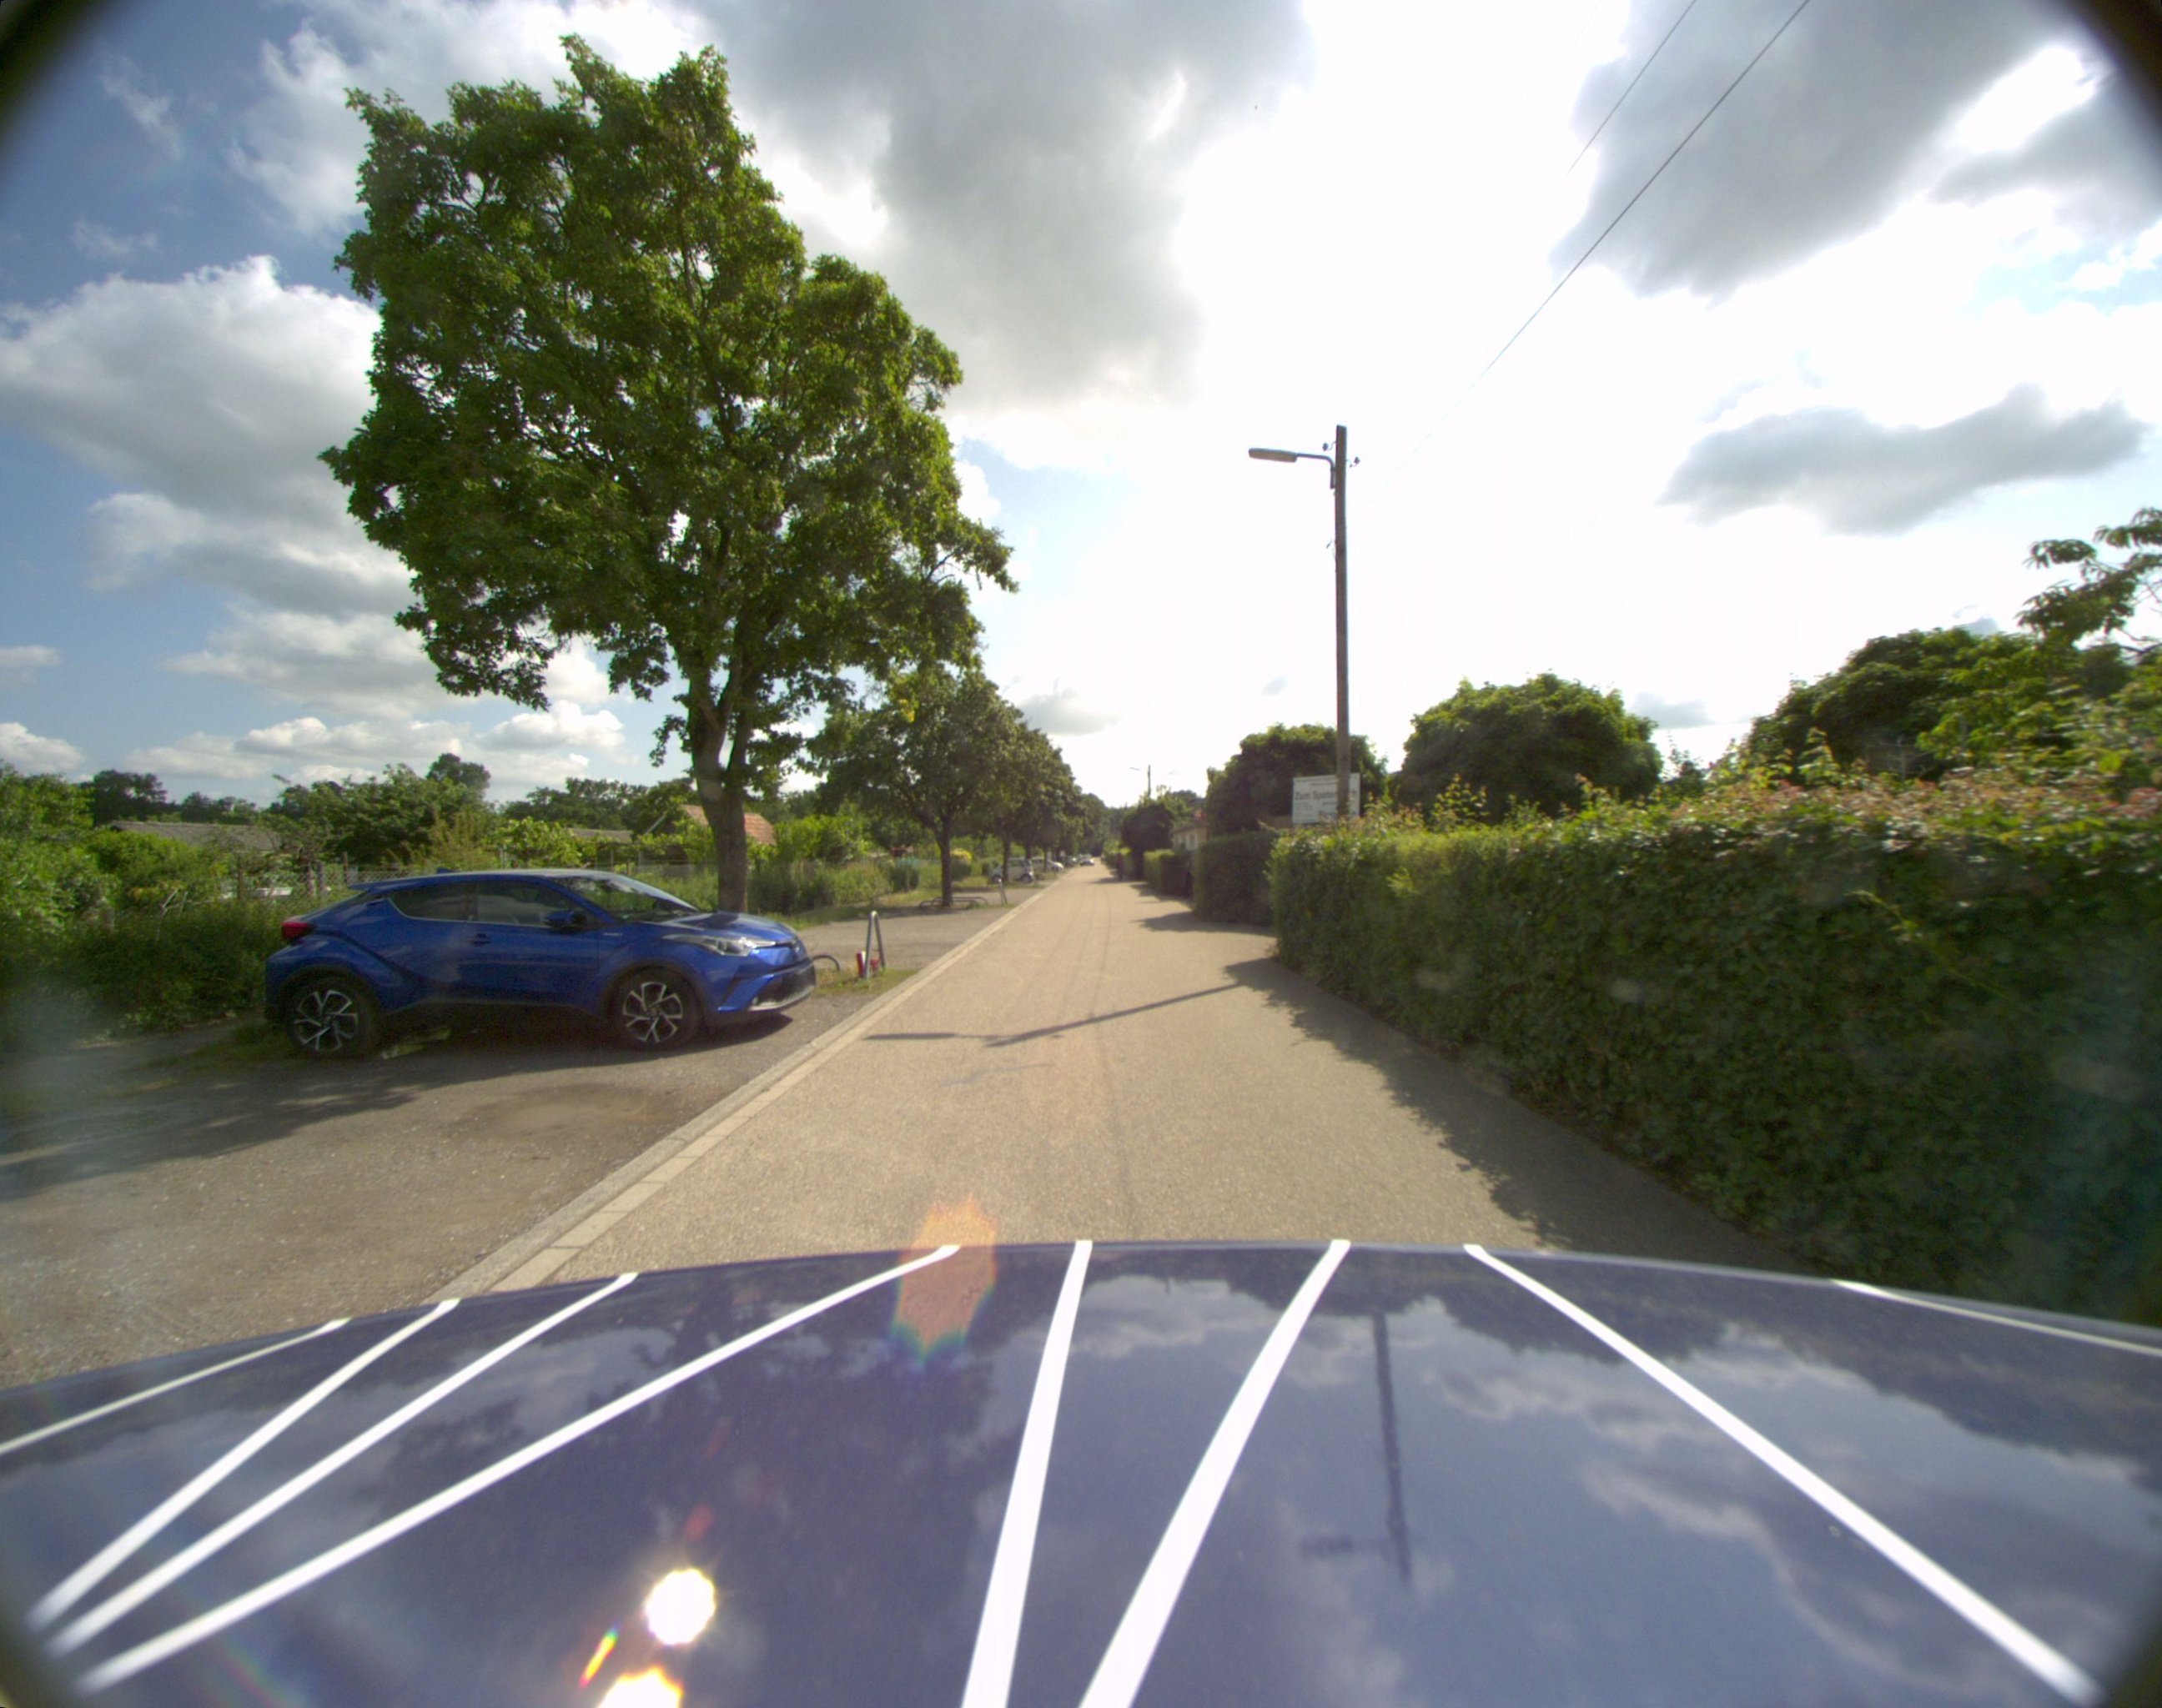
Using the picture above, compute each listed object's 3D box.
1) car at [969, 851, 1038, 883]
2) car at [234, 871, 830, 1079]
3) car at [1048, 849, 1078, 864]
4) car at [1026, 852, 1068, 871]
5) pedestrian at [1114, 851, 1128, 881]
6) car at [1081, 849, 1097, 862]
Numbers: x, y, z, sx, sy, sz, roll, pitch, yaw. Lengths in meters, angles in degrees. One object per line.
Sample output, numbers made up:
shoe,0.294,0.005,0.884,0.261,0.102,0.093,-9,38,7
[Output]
car,-4.744,0.791,46.916,3.928,1.740,2.000,-2,1,1
car,-4.660,0.984,6.946,4.116,1.573,1.781,-1,0,0
car,-2.451,0.327,104.045,3.998,1.824,1.999,-2,1,-2
car,-3.339,0.732,75.511,3.928,1.740,2.000,-2,1,1
pedestrian,2.352,0.687,44.759,0.701,1.701,0.788,-2,1,1
car,1.167,0.195,105.312,1.998,1.740,3.932,-2,1,3
